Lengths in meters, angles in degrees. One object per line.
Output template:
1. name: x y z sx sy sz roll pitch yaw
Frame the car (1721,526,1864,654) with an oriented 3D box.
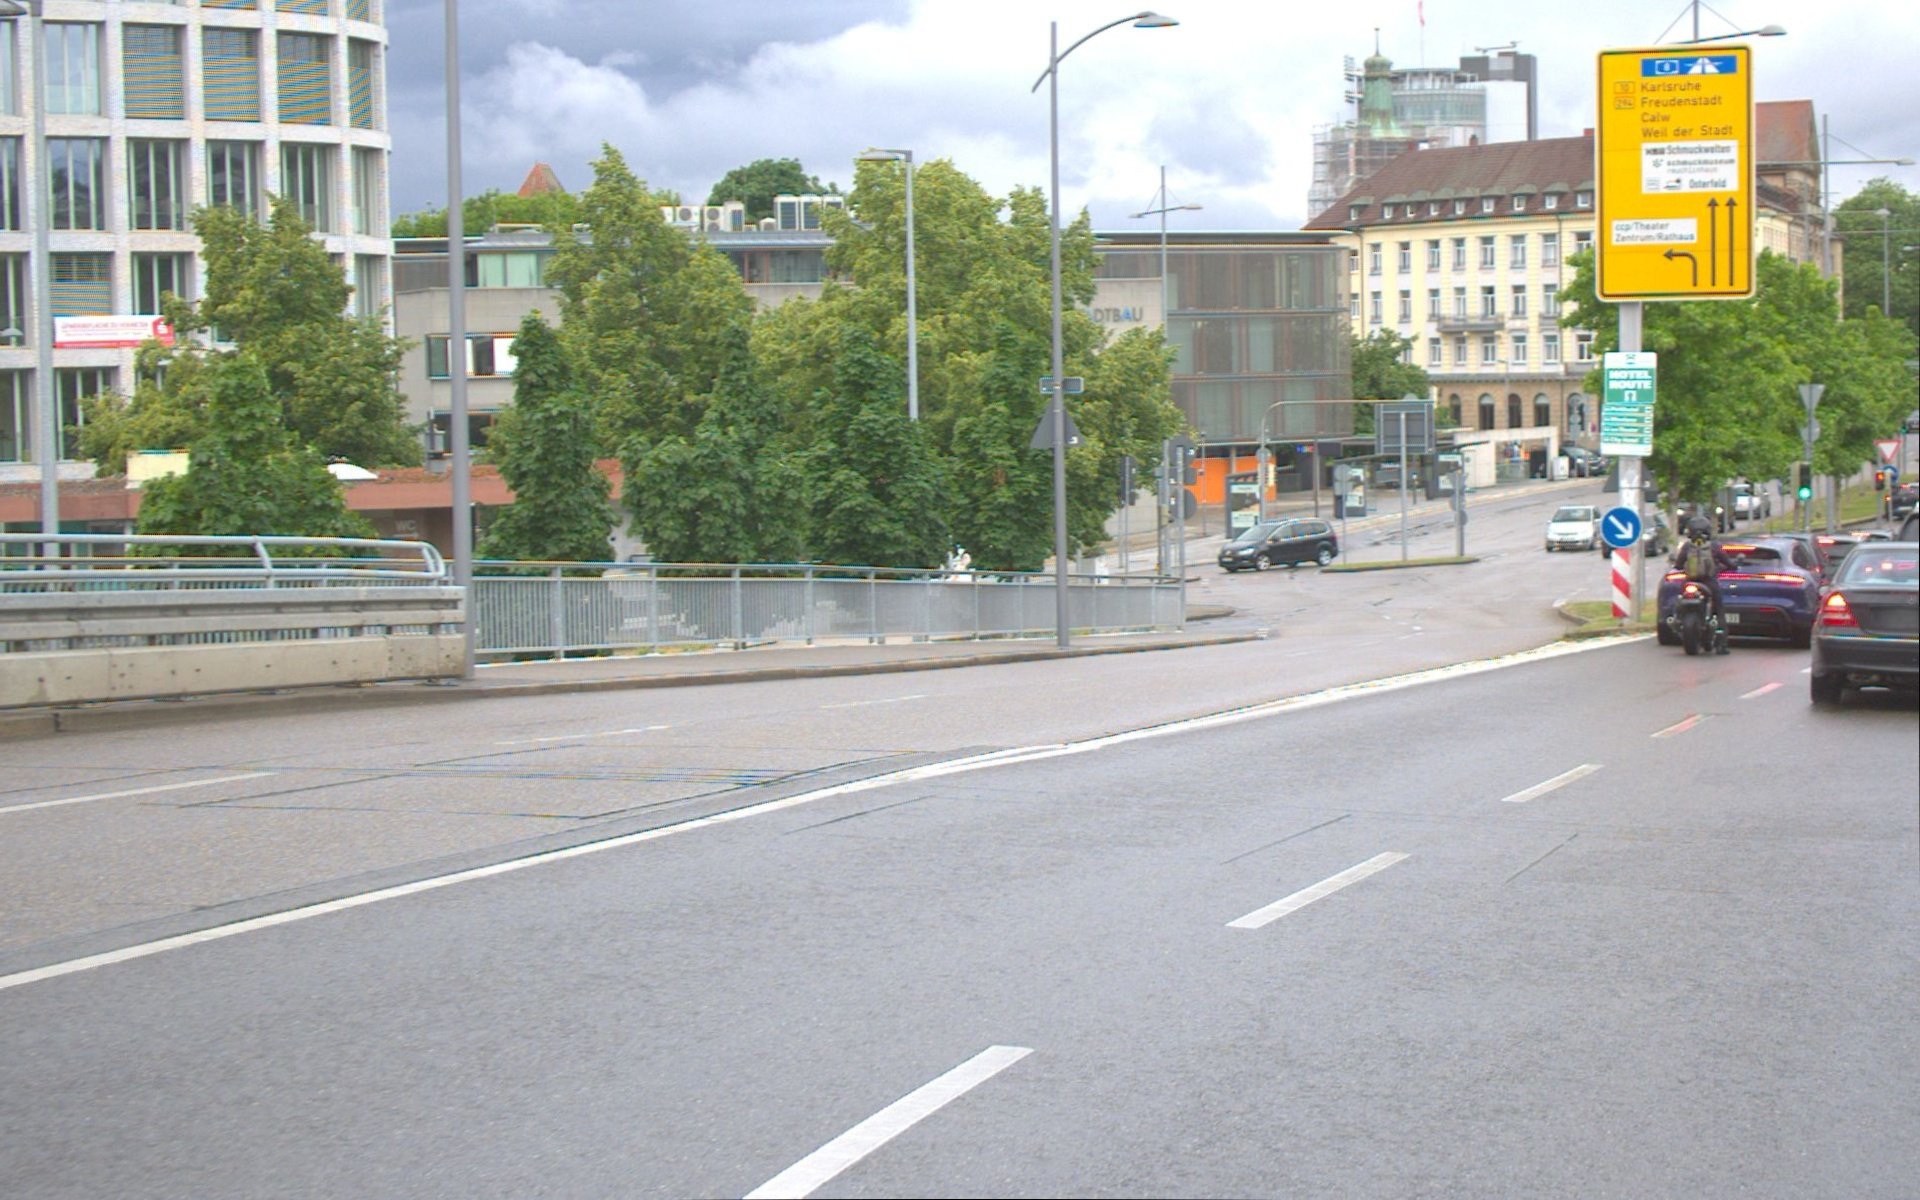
1. car: 14.172 -0.210 58.367 1.995 1.999 3.997 2 2 18

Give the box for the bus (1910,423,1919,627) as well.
1. bus: 17.899 -1.259 58.281 2.830 3.178 10.300 2 2 18

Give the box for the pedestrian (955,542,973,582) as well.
1. pedestrian: 0.092 -0.841 76.292 0.301 0.870 0.298 0 3 22

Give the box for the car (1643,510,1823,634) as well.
1. car: 9.857 -0.395 43.666 1.762 1.431 3.996 2 2 19

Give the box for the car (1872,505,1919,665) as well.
1. car: 11.429 -0.186 38.040 1.829 1.681 3.995 2 2 26

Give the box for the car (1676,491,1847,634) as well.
1. car: 11.983 -0.598 51.240 1.995 1.999 3.996 2 2 20

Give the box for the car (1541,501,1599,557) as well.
1. car: 22.393 -2.589 126.069 1.994 2.007 3.998 0 1 11

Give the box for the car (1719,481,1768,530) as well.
1. car: 33.502 -4.020 147.006 1.994 2.007 4.200 0 0 12

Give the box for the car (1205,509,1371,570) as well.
1. car: 11.601 -2.164 121.647 5.610 2.006 2.000 -2 2 -26

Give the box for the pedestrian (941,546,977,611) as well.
1. pedestrian: -0.021 -0.478 76.316 0.649 1.404 0.530 0 3 22

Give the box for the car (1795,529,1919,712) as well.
1. car: 8.309 0.137 29.526 1.708 1.414 3.722 2 2 21

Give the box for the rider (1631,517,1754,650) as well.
1. rider: 8.531 -0.216 39.984 0.882 1.467 2.193 3 2 25
